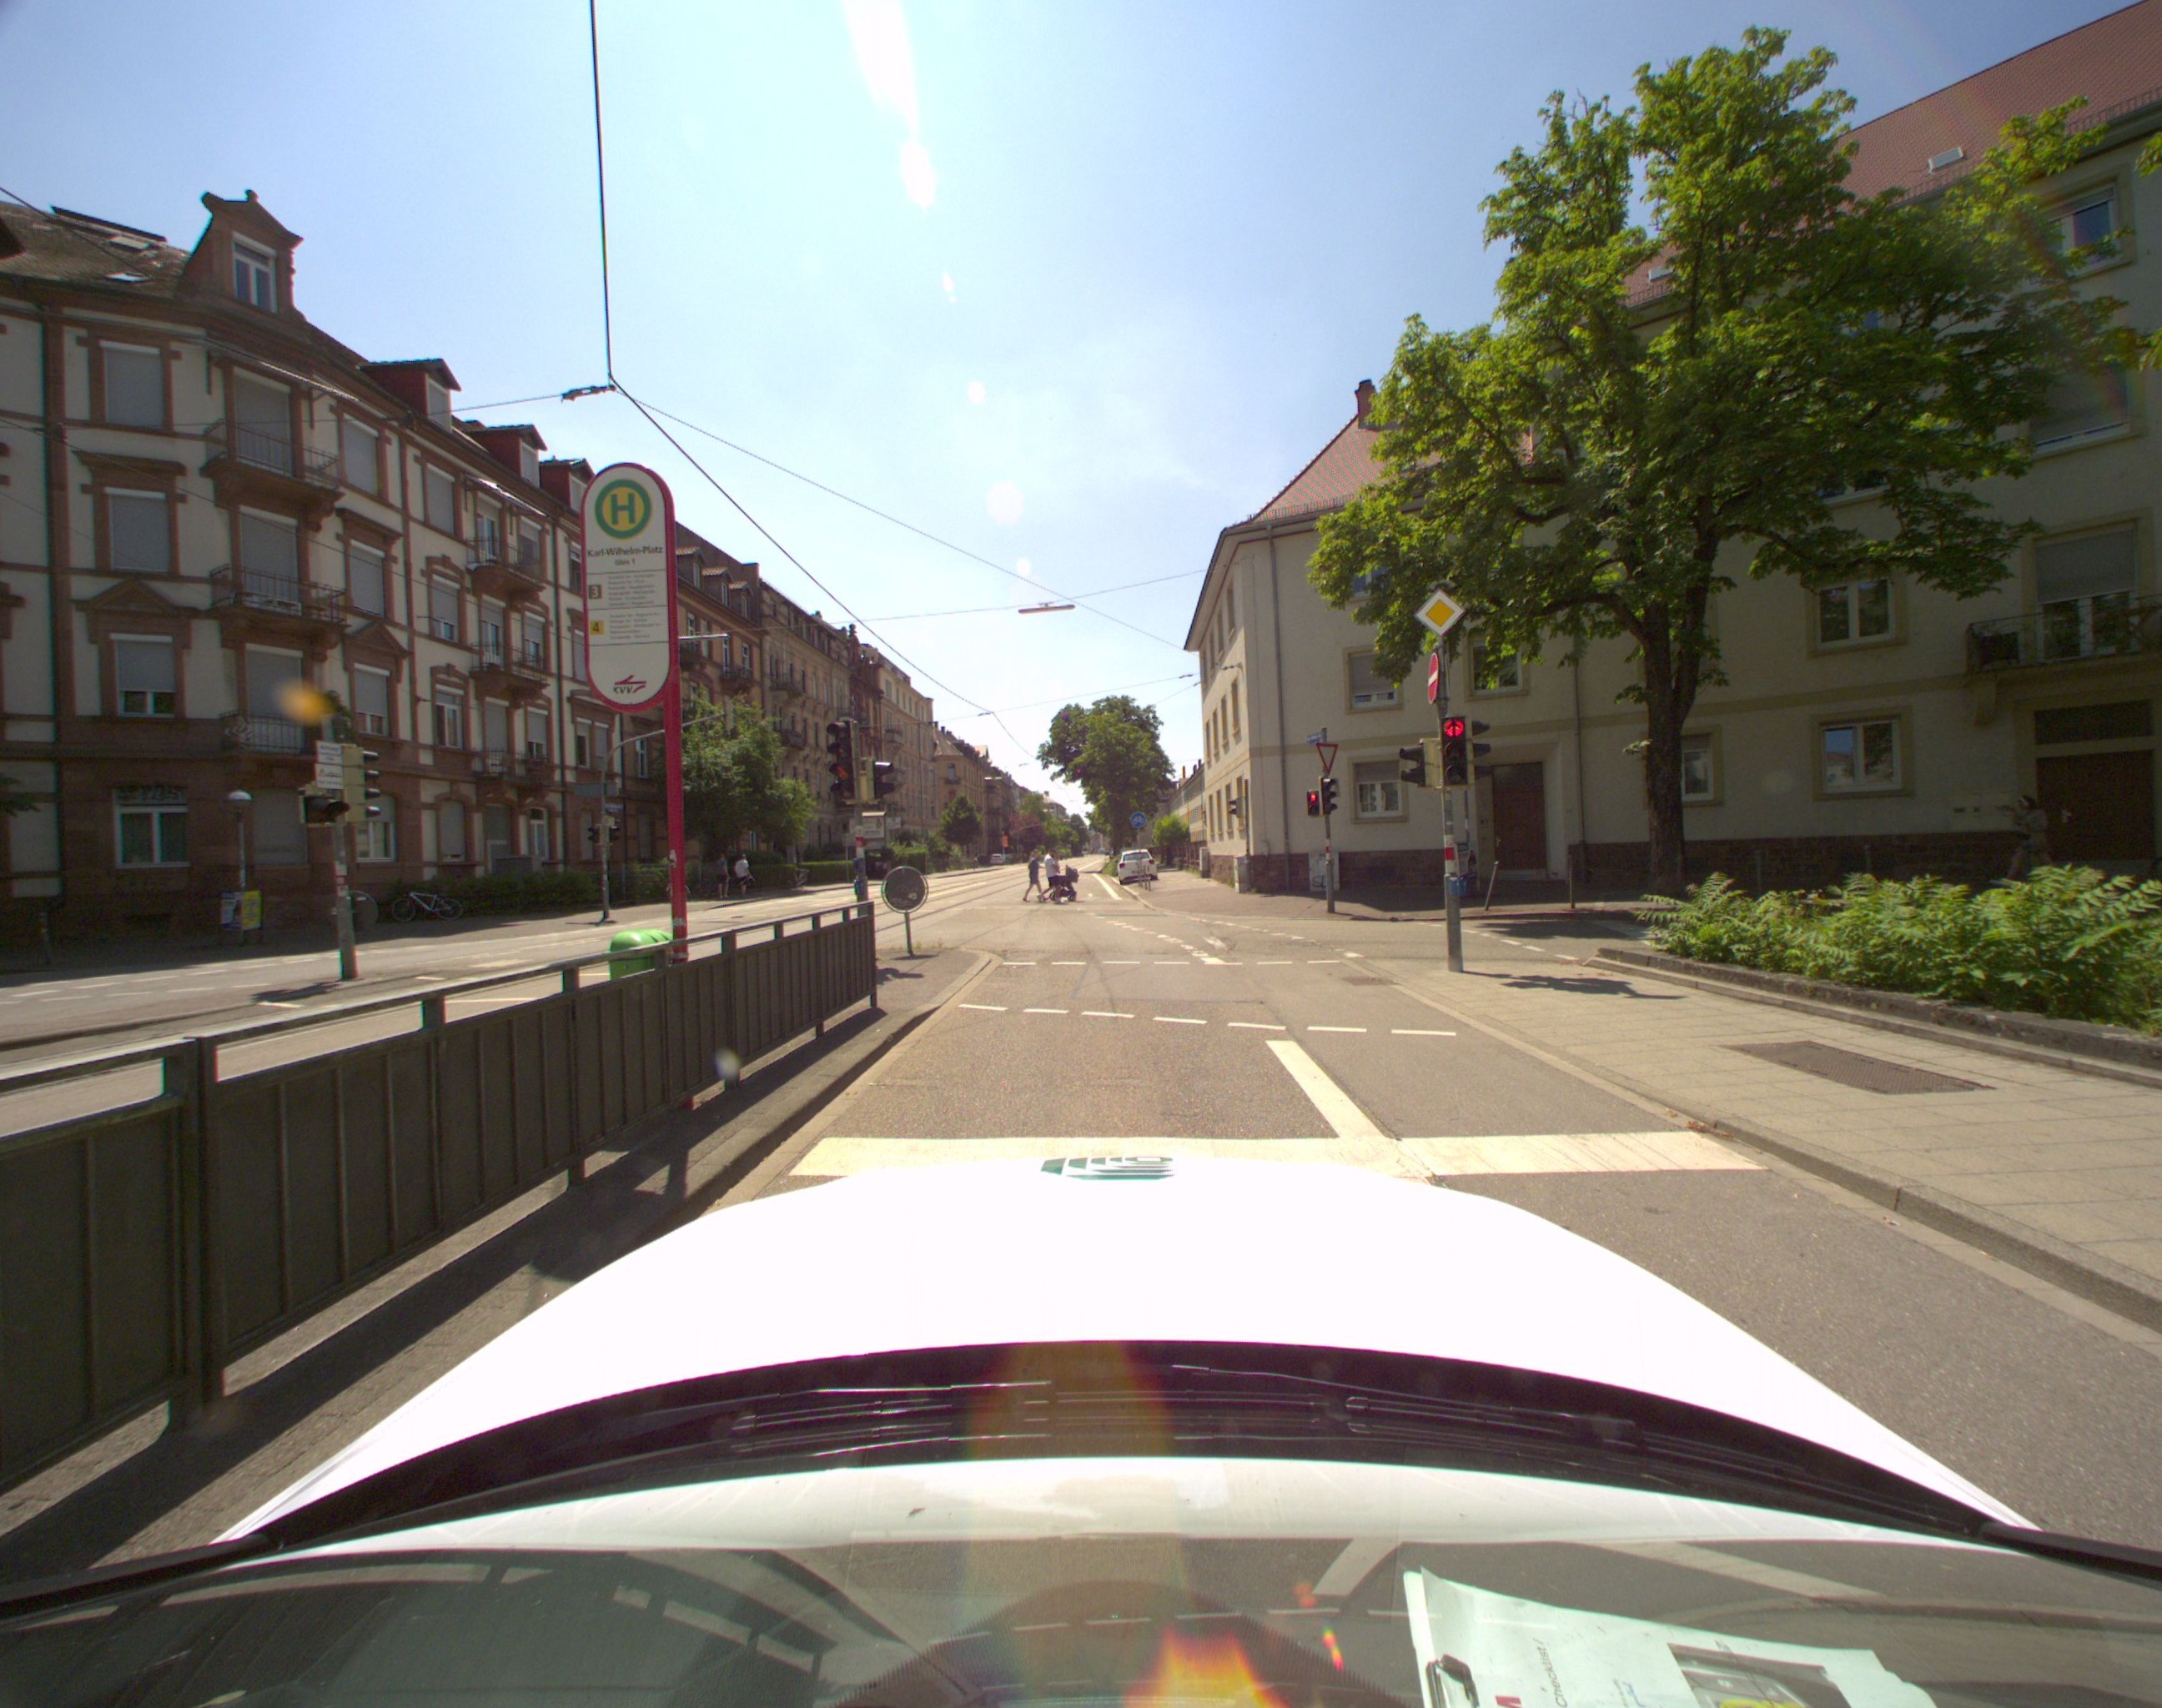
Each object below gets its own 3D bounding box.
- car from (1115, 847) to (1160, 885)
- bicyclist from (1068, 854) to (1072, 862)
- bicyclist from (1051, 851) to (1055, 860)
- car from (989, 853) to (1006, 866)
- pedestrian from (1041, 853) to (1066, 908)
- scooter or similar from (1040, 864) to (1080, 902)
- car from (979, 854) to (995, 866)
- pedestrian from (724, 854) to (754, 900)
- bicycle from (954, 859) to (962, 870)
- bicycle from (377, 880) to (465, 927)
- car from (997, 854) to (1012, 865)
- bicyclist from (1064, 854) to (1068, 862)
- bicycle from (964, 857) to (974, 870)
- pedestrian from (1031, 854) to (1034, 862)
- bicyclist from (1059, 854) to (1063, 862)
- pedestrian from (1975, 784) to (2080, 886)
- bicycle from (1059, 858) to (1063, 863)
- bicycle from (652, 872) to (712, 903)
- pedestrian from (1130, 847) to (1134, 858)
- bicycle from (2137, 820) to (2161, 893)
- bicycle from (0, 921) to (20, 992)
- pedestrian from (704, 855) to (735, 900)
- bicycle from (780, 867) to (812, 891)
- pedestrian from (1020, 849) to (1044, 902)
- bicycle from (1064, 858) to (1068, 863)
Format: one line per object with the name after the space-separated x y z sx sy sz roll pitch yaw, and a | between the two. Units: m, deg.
2.528 0.526 37.418 1.808 1.516 4.001 -4 -1 2 | car
-2.630 0.966 193.158 0.724 1.818 1.080 0 -1 3 | bicyclist
-5.195 0.355 150.861 0.724 1.629 1.080 0 -1 3 | bicyclist
-11.882 0.797 116.065 1.912 1.715 4.001 0 -1 2 | car
-0.811 0.783 24.542 0.671 1.645 0.559 0 -1 5 | pedestrian
-0.665 0.909 25.628 1.199 1.155 0.557 0 -1 -6 | scooter or similar
-14.335 0.882 124.467 1.912 1.715 4.001 0 -1 2 | car
-14.046 0.936 33.442 0.812 1.822 0.874 0 1 4 | pedestrian
-12.154 1.022 80.498 0.677 1.064 1.912 -2 0 -9 | bicycle
-19.551 1.438 24.159 0.557 1.294 1.975 -1 -1 43 | bicycle
-11.662 0.861 124.329 1.912 1.715 4.001 0 -1 2 | car
-3.587 0.995 193.300 0.724 1.818 1.080 0 -1 3 | bicyclist
-11.710 0.948 85.136 0.675 1.278 1.918 -2 0 -1 | bicycle
-8.480 0.741 142.548 0.404 1.461 0.436 -2 0 1 | pedestrian
-4.289 0.863 174.059 0.724 1.768 1.080 0 -1 3 | bicyclist
16.942 -0.327 14.609 1.043 1.690 0.658 -5 3 40 | pedestrian
-4.288 1.444 173.975 0.724 1.123 2.087 0 -1 4 | bicycle
-15.667 1.299 32.081 0.934 1.136 2.774 0 -1 1 | bicycle
7.354 -0.229 116.732 0.519 1.562 0.573 -2 0 1 | pedestrian
17.014 0.018 12.085 0.527 1.104 1.589 -2 0 -34 | bicycle
-17.109 1.578 11.917 1.772 1.056 0.693 -1 -1 -32 | bicycle
-14.825 0.946 33.438 0.812 1.822 0.874 0 1 4 | pedestrian
-14.401 1.252 41.254 0.936 1.136 2.767 0 -1 -7 | bicycle
-1.526 0.661 25.405 0.671 1.645 0.559 0 -1 5 | pedestrian
-3.584 1.620 193.263 0.724 1.123 2.087 0 -1 4 | bicycle
